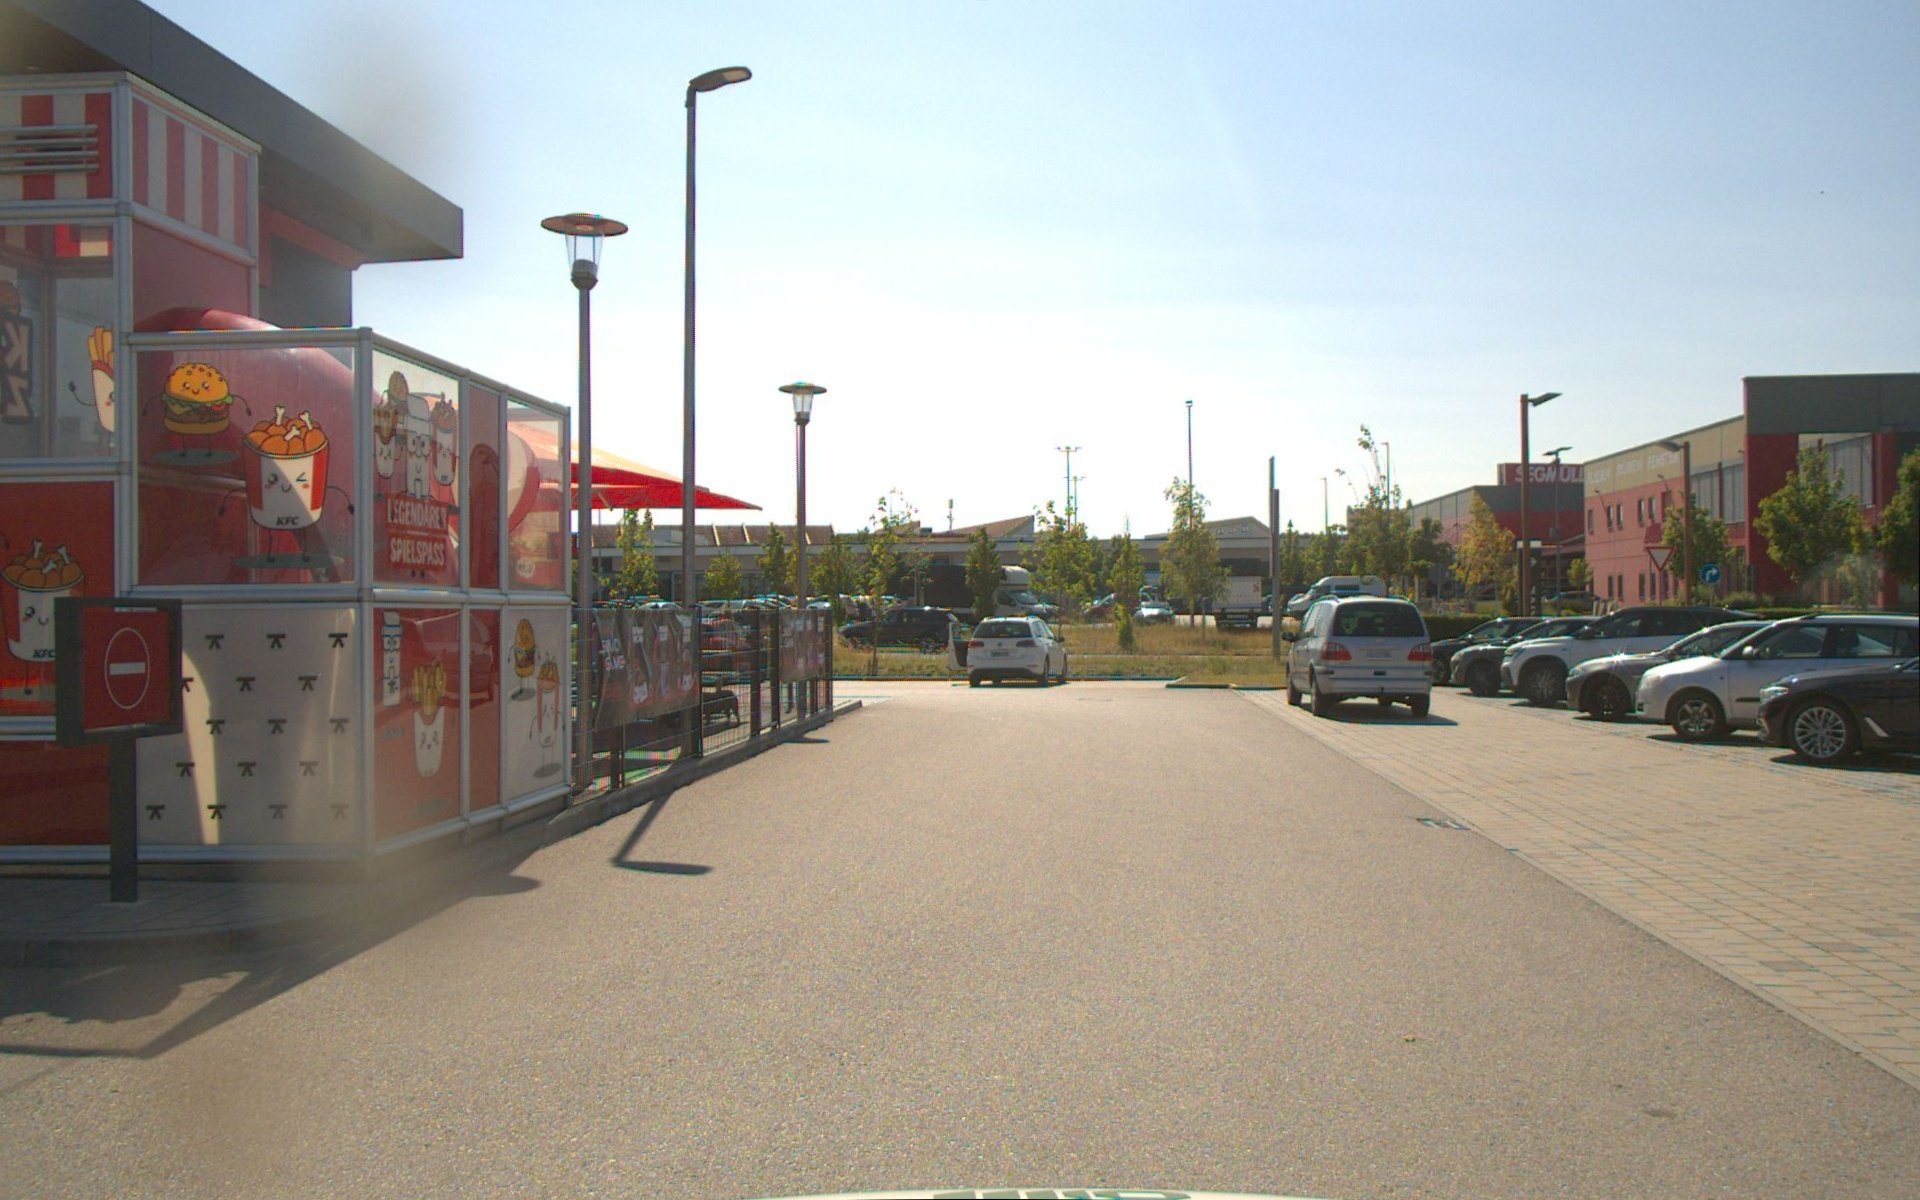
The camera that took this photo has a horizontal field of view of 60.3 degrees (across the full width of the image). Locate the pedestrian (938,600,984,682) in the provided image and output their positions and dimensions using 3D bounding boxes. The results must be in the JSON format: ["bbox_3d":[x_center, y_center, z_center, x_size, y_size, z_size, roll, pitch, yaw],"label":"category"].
[{"bbox_3d":[0.027,0.927,37.563,0.970,1.841,0.726,0,-2,5],"label":"pedestrian"}]

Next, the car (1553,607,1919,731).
[{"bbox_3d":[11.071,0.883,23.295,4.760,1.553,1.963,0,0,43],"label":"car"}]

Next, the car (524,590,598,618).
[{"bbox_3d":[-26.840,0.261,111.396,4.462,1.888,1.957,0,0,4],"label":"car"}]

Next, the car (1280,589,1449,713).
[{"bbox_3d":[6.279,0.757,26.184,1.789,1.779,4.685,0,0,4],"label":"car"}]

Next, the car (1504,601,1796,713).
[{"bbox_3d":[11.244,0.871,27.014,4.120,1.683,1.969,0,0,34],"label":"car"}]

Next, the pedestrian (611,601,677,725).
[{"bbox_3d":[-3.407,0.666,17.786,0.671,1.296,0.839,0,0,-12],"label":"pedestrian"}]

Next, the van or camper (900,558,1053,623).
[{"bbox_3d":[0.766,-0.449,83.772,7.899,3.156,2.408,0,0,38],"label":"van or camper"}]

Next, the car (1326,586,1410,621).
[{"bbox_3d":[22.707,0.185,92.147,4.298,1.888,1.957,0,0,4],"label":"car"}]

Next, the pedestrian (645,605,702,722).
[{"bbox_3d":[-3.237,0.703,18.659,0.601,1.296,0.622,0,0,-12],"label":"pedestrian"}]

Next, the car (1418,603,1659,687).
[{"bbox_3d":[11.737,0.862,33.760,1.958,1.553,4.267,0,0,-41],"label":"car"}]

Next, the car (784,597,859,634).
[{"bbox_3d":[-7.210,0.782,86.461,1.911,1.888,4.399,0,0,27],"label":"car"}]

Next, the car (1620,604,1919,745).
[{"bbox_3d":[10.317,0.839,19.887,4.120,1.553,1.969,0,0,34],"label":"car"}]

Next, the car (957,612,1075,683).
[{"bbox_3d":[1.319,1.052,36.844,1.788,1.495,4.485,-1,-2,13],"label":"car"}]

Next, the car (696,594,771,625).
[{"bbox_3d":[-14.057,0.586,102.690,4.298,1.888,1.957,0,0,4],"label":"car"}]

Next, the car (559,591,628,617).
[{"bbox_3d":[-26.448,0.280,119.498,4.462,1.888,1.957,0,0,4],"label":"car"}]

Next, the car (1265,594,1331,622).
[{"bbox_3d":[23.361,0.527,114.402,4.298,1.888,1.957,0,0,4],"label":"car"}]

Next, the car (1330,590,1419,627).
[{"bbox_3d":[21.784,0.461,87.016,4.298,1.888,1.957,0,0,4],"label":"car"}]

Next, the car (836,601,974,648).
[{"bbox_3d":[-2.102,0.951,64.260,5.095,1.761,1.991,0,0,8],"label":"car"}]

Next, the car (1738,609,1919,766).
[{"bbox_3d":[10.425,0.858,16.227,1.960,1.512,4.707,1,0,-43],"label":"car"}]

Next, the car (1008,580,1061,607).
[{"bbox_3d":[5.654,-0.470,125.192,3.902,2.049,2.001,0,0,7],"label":"car"}]

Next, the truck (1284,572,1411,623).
[{"bbox_3d":[22.176,-0.154,94.910,6.887,2.864,1.956,0,0,4],"label":"truck"}]

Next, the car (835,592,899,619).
[{"bbox_3d":[-6.633,0.380,117.926,4.298,1.888,1.957,0,0,4],"label":"car"}]

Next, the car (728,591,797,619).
[{"bbox_3d":[-13.230,0.330,110.877,4.298,1.888,1.957,0,0,4],"label":"car"}]

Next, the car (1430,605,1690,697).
[{"bbox_3d":[11.073,0.887,30.633,4.131,1.553,1.964,0,0,41],"label":"car"}]

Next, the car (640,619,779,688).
[{"bbox_3d":[-5.752,1.230,38.536,1.788,1.495,4.356,-1,-2,12],"label":"car"}]

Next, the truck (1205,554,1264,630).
[{"bbox_3d":[13.445,-0.361,81.071,2.700,3.541,6.838,0,0,9],"label":"truck"}]

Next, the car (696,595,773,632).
[{"bbox_3d":[-12.050,0.708,88.590,1.911,1.888,4.399,0,0,27],"label":"car"}]

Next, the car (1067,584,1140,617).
[{"bbox_3d":[8.238,0.028,95.161,4.164,1.888,1.871,0,0,4],"label":"car"}]

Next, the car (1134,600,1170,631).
[{"bbox_3d":[9.534,0.745,82.048,1.614,1.485,3.970,0,0,9],"label":"car"}]

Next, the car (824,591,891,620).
[{"bbox_3d":[-6.945,0.365,111.964,4.298,1.888,1.957,0,0,4],"label":"car"}]
